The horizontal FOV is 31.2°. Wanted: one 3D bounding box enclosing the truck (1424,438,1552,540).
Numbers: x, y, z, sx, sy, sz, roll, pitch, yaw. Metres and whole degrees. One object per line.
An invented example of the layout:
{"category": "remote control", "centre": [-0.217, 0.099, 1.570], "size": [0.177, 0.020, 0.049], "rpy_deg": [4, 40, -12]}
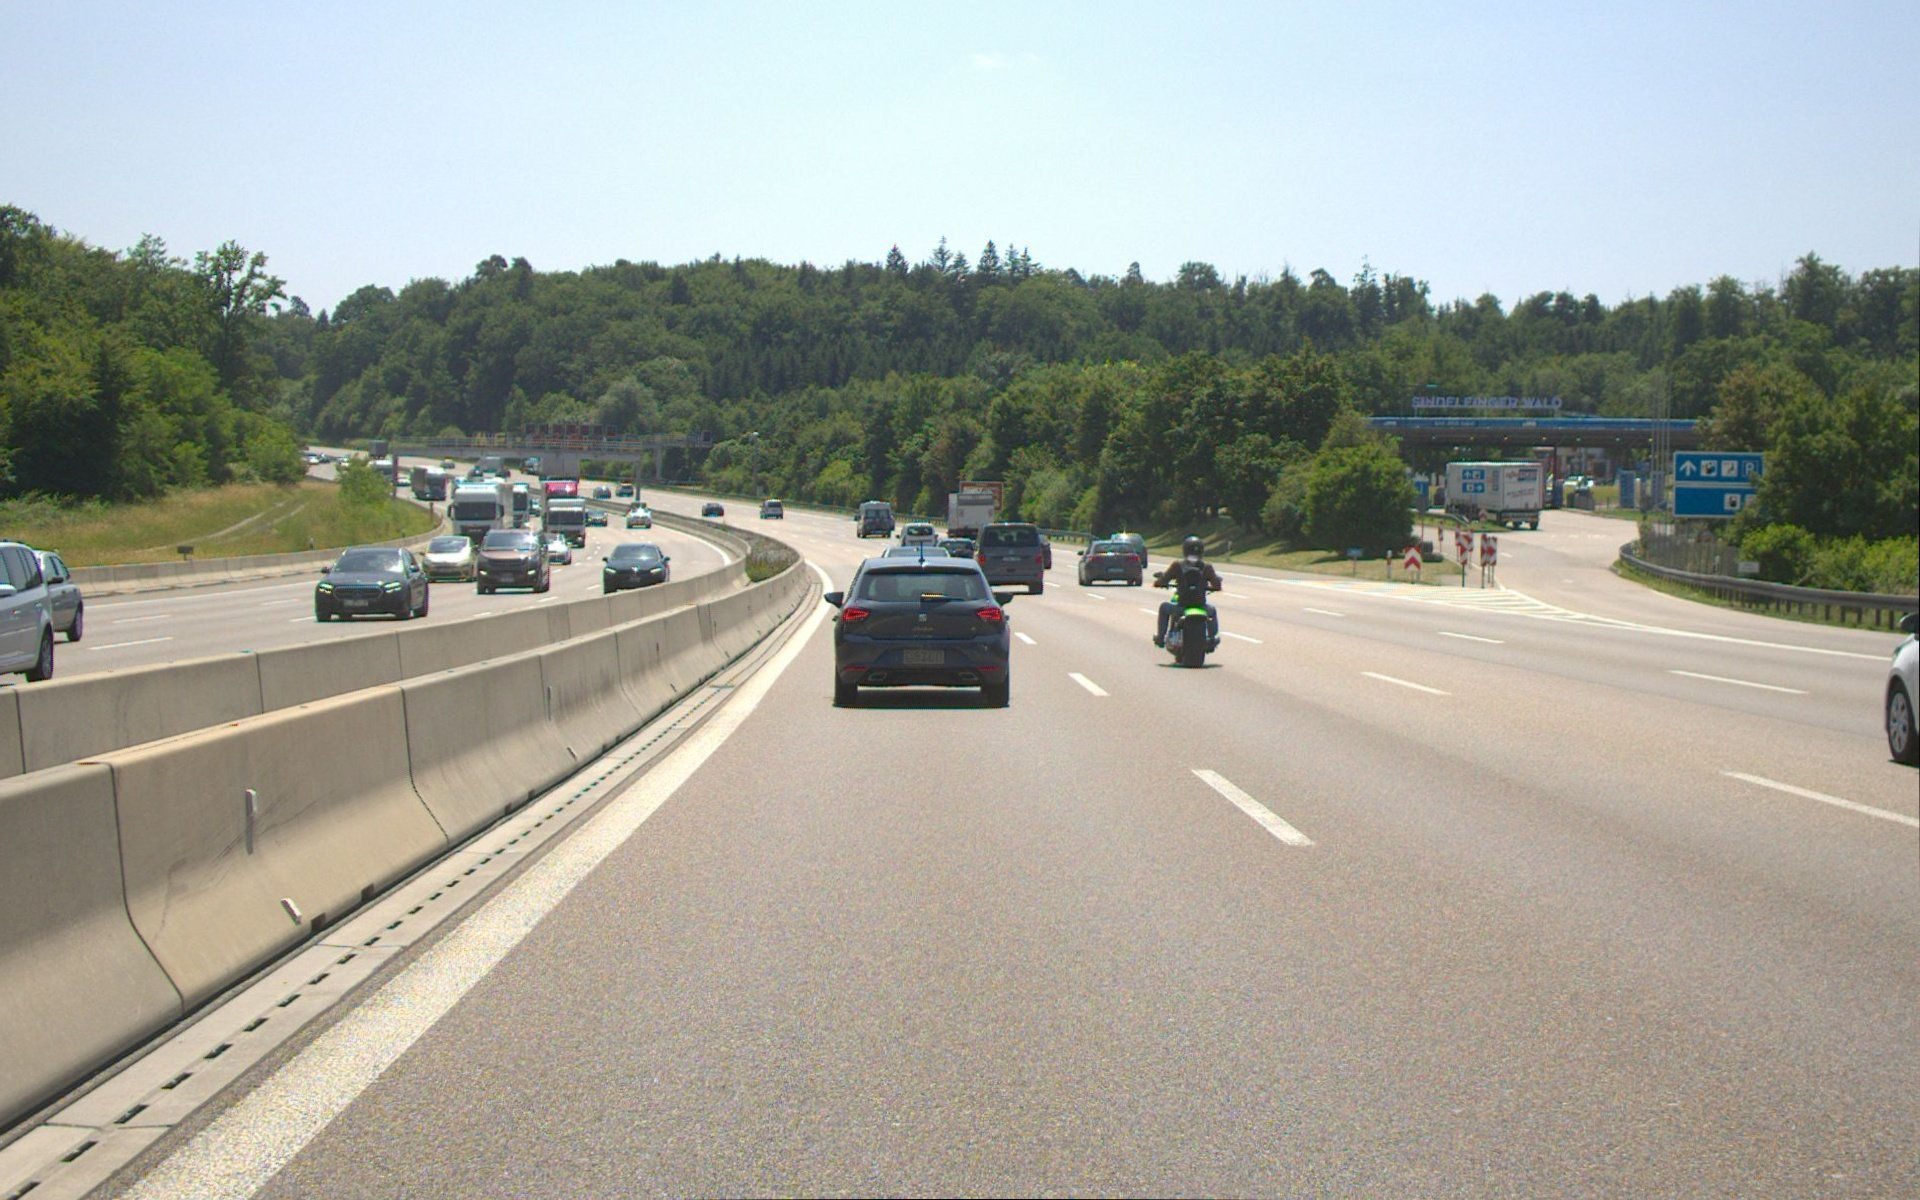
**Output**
{"category": "truck", "centre": [33.526, -6.965, 219.212], "size": [5.508, 6.244, 15.432], "rpy_deg": [0, 1, -1]}

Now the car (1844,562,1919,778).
{"category": "car", "centre": [7.264, 0.464, 22.725], "size": [1.666, 1.428, 4.376], "rpy_deg": [-2, 1, 0]}

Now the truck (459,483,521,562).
{"category": "truck", "centre": [-25.306, -4.156, 185.168], "size": [2.682, 4.163, 6.232], "rpy_deg": [0, 1, -2]}

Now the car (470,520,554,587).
{"category": "car", "centre": [-13.319, -1.385, 102.573], "size": [1.872, 1.933, 5.775], "rpy_deg": [0, 1, -1]}

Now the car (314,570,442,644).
{"category": "car", "centre": [-12.120, 0.118, 71.856], "size": [1.872, 1.471, 5.112], "rpy_deg": [0, 1, -1]}

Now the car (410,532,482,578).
{"category": "car", "centre": [-18.275, -1.604, 122.405], "size": [1.872, 1.529, 4.814], "rpy_deg": [-2, 1, -1]}

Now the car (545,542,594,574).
{"category": "car", "centre": [-18.389, -1.991, 162.030], "size": [1.872, 1.475, 4.814], "rpy_deg": [0, 1, -1]}

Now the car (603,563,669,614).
{"category": "car", "centre": [-9.508, -0.352, 101.113], "size": [1.601, 1.463, 4.506], "rpy_deg": [0, 1, -1]}

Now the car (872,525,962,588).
{"category": "car", "centre": [-0.909, -0.917, 71.161], "size": [1.782, 1.261, 3.460], "rpy_deg": [0, 1, -2]}

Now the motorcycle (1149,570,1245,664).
{"category": "motorcycle", "centre": [3.003, 0.206, 43.853], "size": [0.977, 1.125, 2.271], "rpy_deg": [1, 1, -2]}

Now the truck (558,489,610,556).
{"category": "truck", "centre": [-23.991, -4.957, 219.528], "size": [2.531, 4.163, 9.620], "rpy_deg": [0, 1, -2]}

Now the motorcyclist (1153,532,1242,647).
{"category": "motorcyclist", "centre": [3.006, -0.144, 43.672], "size": [0.962, 1.432, 1.235], "rpy_deg": [0, 1, -4]}

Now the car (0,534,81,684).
{"category": "car", "centre": [-10.878, 0.080, 36.683], "size": [1.831, 1.556, 4.777], "rpy_deg": [0, 1, -1]}

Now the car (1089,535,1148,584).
{"category": "car", "centre": [4.954, -1.272, 107.627], "size": [1.675, 1.427, 3.685], "rpy_deg": [2, 1, 1]}

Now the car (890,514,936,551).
{"category": "car", "centre": [-2.343, -3.331, 169.654], "size": [1.993, 1.678, 4.425], "rpy_deg": [3, 2, -4]}

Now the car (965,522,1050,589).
{"category": "car", "centre": [1.312, -1.259, 96.324], "size": [2.097, 1.845, 4.081], "rpy_deg": [0, 1, -3]}

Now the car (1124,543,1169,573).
{"category": "car", "centre": [7.680, -1.753, 141.992], "size": [1.608, 1.208, 3.460], "rpy_deg": [0, 1, -1]}

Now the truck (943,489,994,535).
{"category": "truck", "centre": [0.510, -5.607, 218.468], "size": [2.726, 2.776, 5.684], "rpy_deg": [3, 2, -4]}

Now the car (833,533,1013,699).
{"category": "car", "centre": [-0.324, 0.150, 34.044], "size": [1.624, 1.482, 3.685], "rpy_deg": [2, 0, 1]}

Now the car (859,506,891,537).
{"category": "car", "centre": [-6.053, -5.593, 244.217], "size": [1.993, 2.006, 4.675], "rpy_deg": [3, 2, -4]}

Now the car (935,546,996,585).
{"category": "car", "centre": [0.181, -1.262, 123.699], "size": [1.842, 1.218, 4.225], "rpy_deg": [3, 2, -4]}

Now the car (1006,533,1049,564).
{"category": "car", "centre": [2.776, -2.126, 141.861], "size": [1.608, 1.208, 3.460], "rpy_deg": [1, 1, -1]}

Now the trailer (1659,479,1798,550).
{"category": "trailer", "centre": [42.716, -4.828, 190.742], "size": [3.164, 3.624, 13.597], "rpy_deg": [1, 3, 32]}
